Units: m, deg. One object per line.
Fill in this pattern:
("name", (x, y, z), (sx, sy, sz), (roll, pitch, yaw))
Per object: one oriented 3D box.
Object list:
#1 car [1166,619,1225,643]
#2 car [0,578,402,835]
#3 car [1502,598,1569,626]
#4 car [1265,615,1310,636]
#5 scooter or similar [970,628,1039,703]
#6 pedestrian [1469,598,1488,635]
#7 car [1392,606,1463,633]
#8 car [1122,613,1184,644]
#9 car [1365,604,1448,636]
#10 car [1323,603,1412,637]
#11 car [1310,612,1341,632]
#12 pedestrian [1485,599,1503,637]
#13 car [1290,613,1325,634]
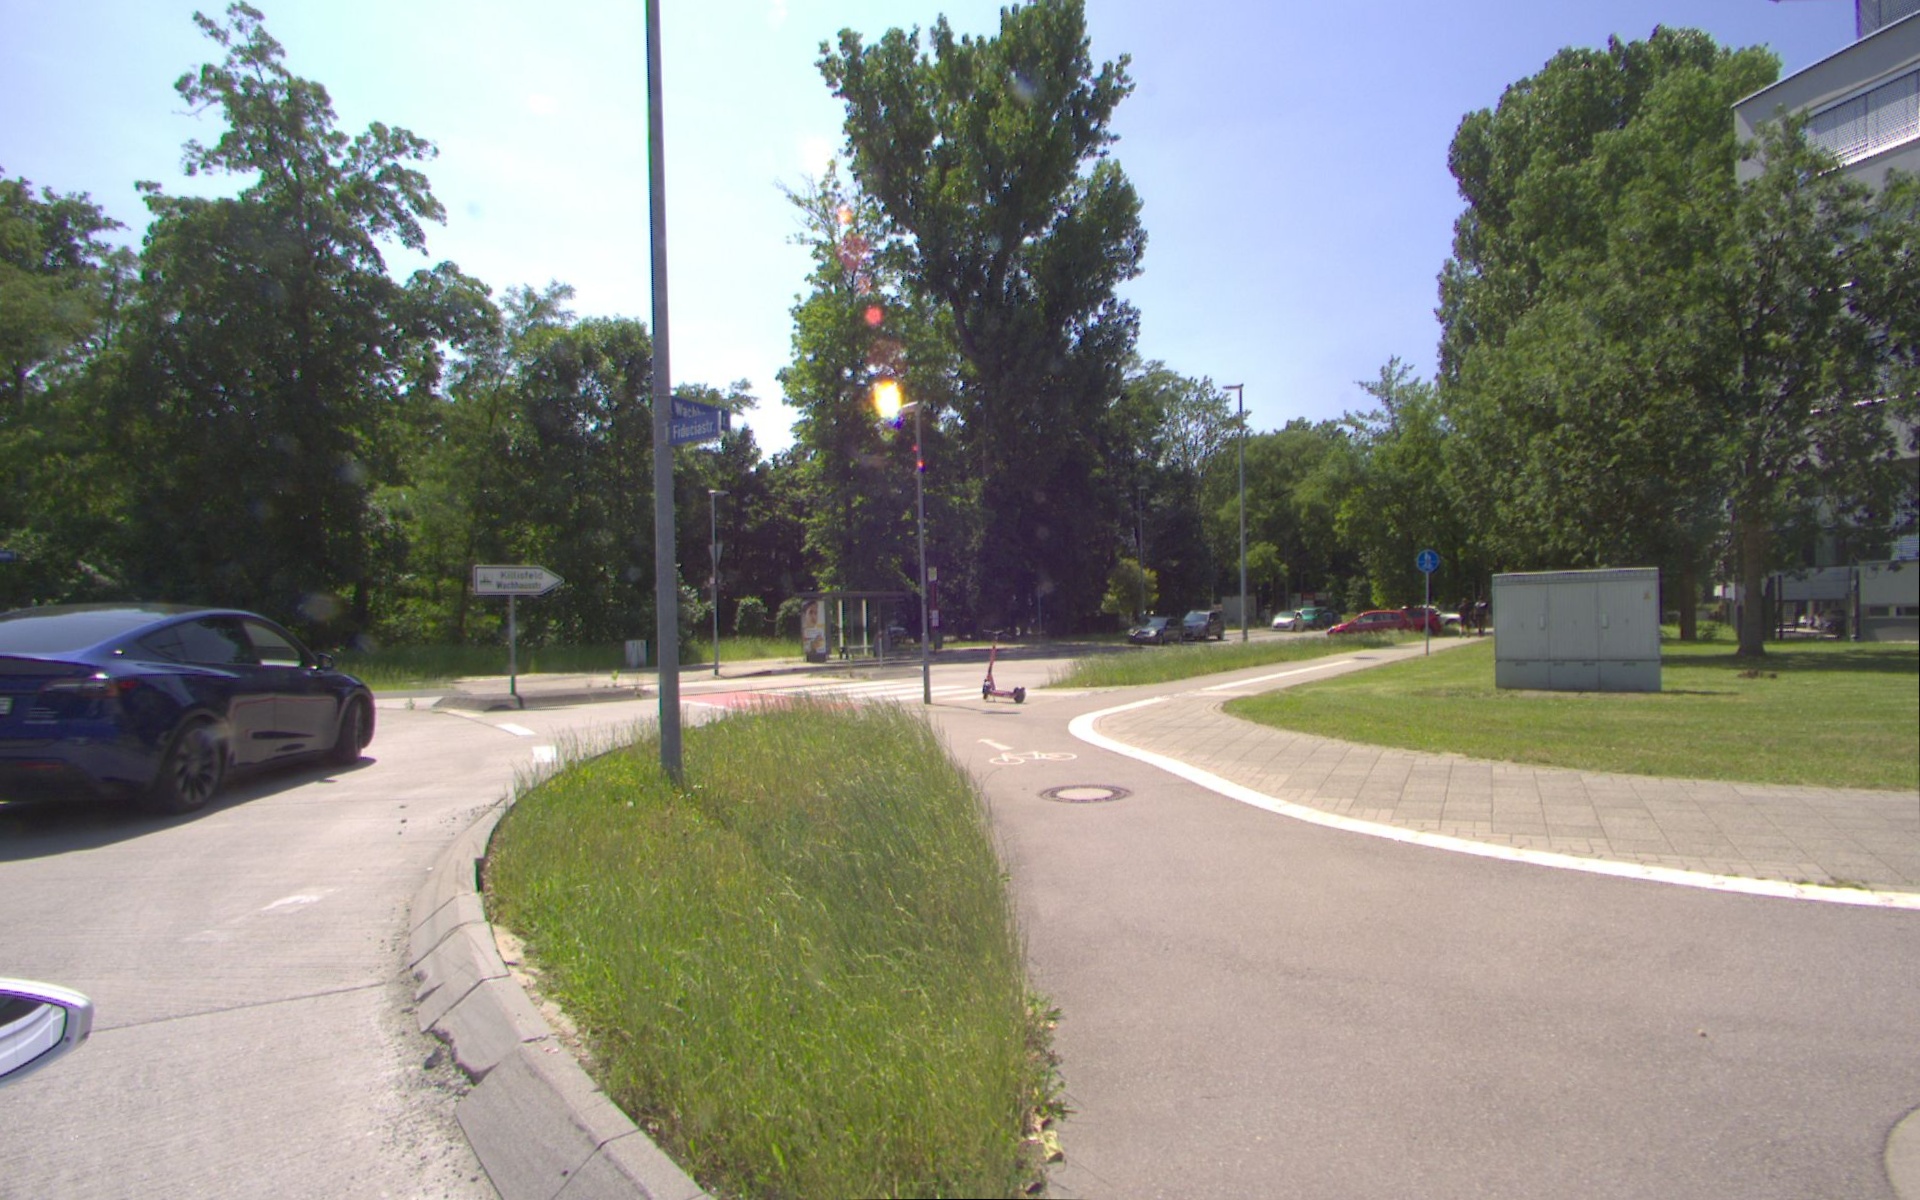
("car", (13.431, 1.745, 56.977), (1.973, 1.327, 3.978), (-2, -2, 34))
("car", (-6.950, 0.750, 8.815), (1.962, 1.661, 4.756), (-1, -1, -8))
("car", (43.807, 0.913, 76.330), (1.969, 2.039, 3.986), (0, -2, -25))
("car", (23.819, 1.845, 72.827), (1.974, 1.488, 3.975), (-2, -2, 36))
("scooter or similar", (0.744, 1.092, 16.997), (0.442, 1.217, 1.391), (0, -2, -32))
("pedestrian", (23.077, 0.723, 44.558), (0.567, 1.628, 0.638), (-2, -1, 45))
("car", (27.496, 1.162, 58.943), (3.631, 1.502, 1.860), (-2, -2, 31))
("car", (9.993, 1.473, 51.737), (1.679, 1.505, 3.977), (2, 0, 34))
("car", (22.504, 1.008, 50.480), (3.631, 1.502, 1.860), (-2, -2, 31))
("car", (19.080, 0.948, 46.936), (3.631, 1.502, 1.860), (-2, -2, 31))
("car", (29.693, 1.767, 81.257), (1.711, 1.513, 3.428), (-2, -1, 31))
("pedestrian", (23.473, 0.798, 44.019), (0.582, 1.637, 0.482), (-2, -1, 42))
("car", (26.509, 1.784, 76.263), (1.712, 1.563, 3.426), (-2, -2, 33))
